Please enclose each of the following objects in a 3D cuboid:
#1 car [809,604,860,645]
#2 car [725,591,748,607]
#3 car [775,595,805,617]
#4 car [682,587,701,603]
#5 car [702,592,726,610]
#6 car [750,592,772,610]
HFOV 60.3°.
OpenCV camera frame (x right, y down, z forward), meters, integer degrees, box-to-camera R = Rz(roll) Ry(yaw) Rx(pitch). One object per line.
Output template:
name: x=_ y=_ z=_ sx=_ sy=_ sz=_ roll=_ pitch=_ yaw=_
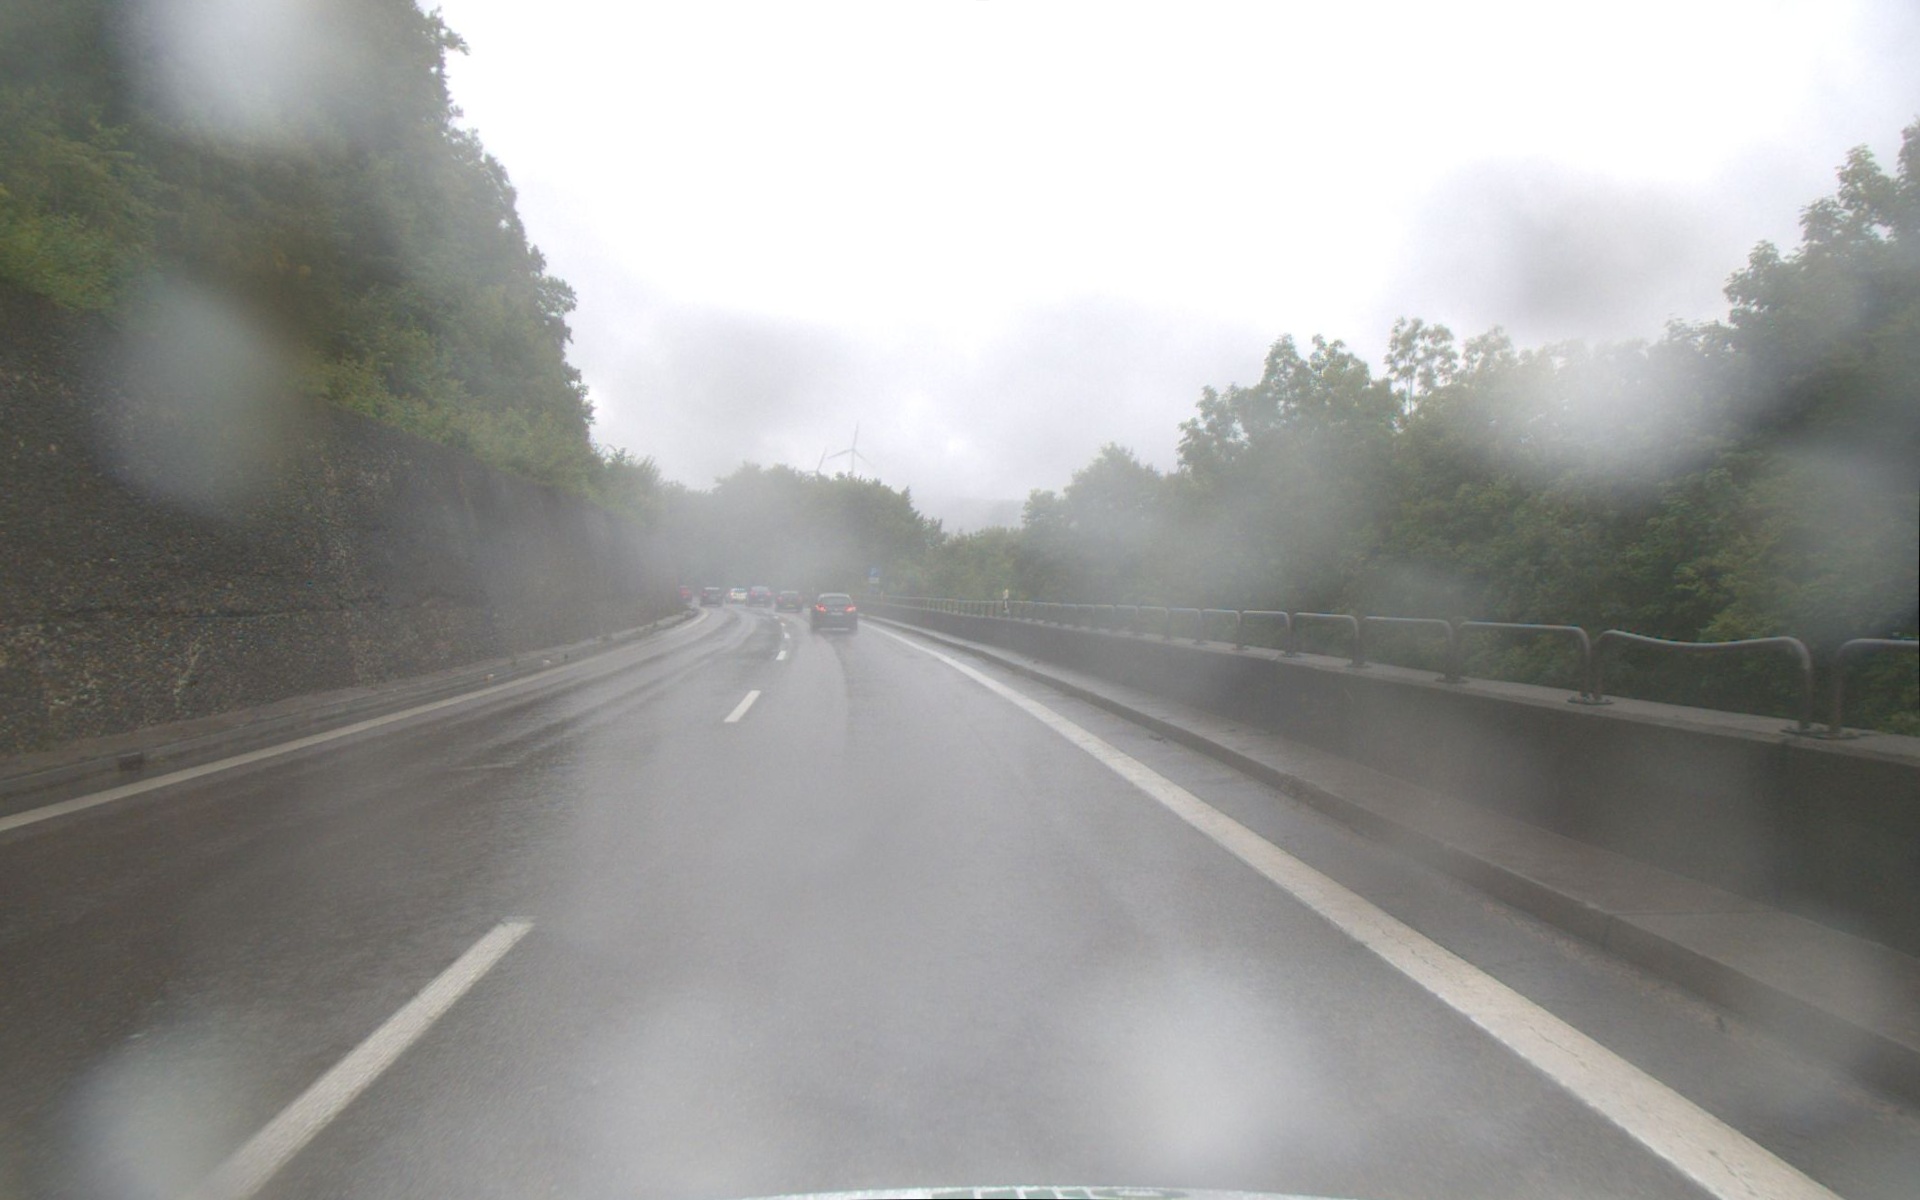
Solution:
car: x=-4.939 y=0.944 z=64.681 sx=1.867 sy=1.525 sz=3.995 roll=0 pitch=0 yaw=-6
car: x=-21.837 y=-0.088 z=161.280 sx=1.871 sy=1.525 sz=3.987 roll=0 pitch=0 yaw=-13
car: x=-11.961 y=0.407 z=116.153 sx=1.868 sy=1.525 sz=3.992 roll=0 pitch=0 yaw=-9
car: x=-27.667 y=-0.511 z=170.528 sx=1.869 sy=1.525 sz=3.991 roll=0 pitch=0 yaw=-9
car: x=-21.051 y=0.082 z=141.574 sx=1.868 sy=1.525 sz=3.994 roll=0 pitch=0 yaw=-7
car: x=-17.283 y=0.121 z=143.666 sx=1.868 sy=1.525 sz=3.994 roll=0 pitch=0 yaw=-7
